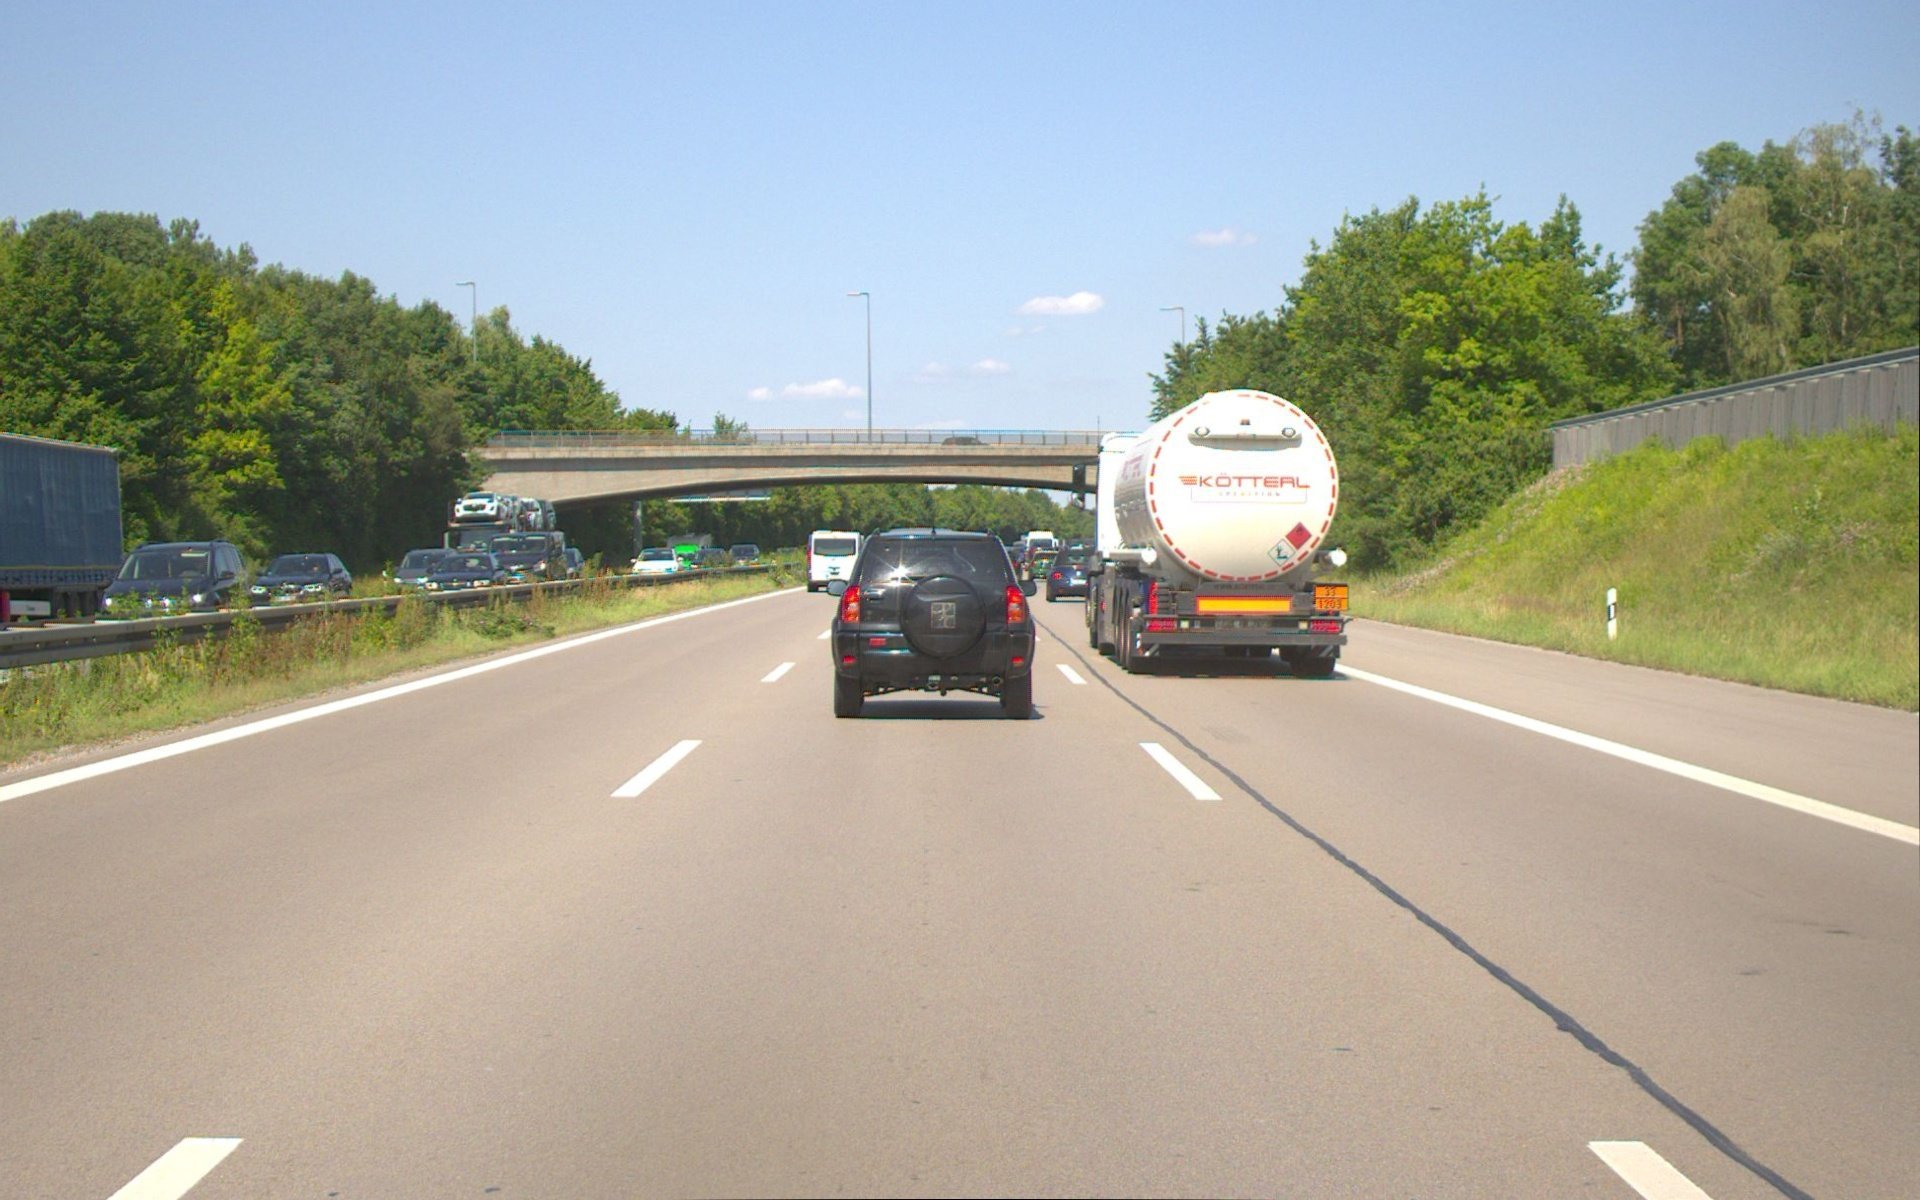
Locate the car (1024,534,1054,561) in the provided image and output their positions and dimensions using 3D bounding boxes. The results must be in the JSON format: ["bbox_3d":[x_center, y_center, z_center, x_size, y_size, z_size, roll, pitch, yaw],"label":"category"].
[{"bbox_3d":[5.146,-3.455,224.681,1.812,1.740,4.000,-1,1,-1],"label":"car"}]

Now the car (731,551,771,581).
[{"bbox_3d":[-11.052,-1.788,182.021,1.850,1.568,4.422,0,0,0],"label":"car"}]

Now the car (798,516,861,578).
[{"bbox_3d":[-4.325,-1.760,114.846,1.993,2.007,4.950,-1,1,-1],"label":"car"}]

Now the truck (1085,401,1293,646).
[{"bbox_3d":[3.288,-1.107,50.811,2.638,3.363,6.487,1,1,0],"label":"truck"}]

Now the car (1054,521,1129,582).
[{"bbox_3d":[3.748,-1.370,98.737,1.993,1.678,4.000,0,0,0],"label":"car"}]

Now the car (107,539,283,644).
[{"bbox_3d":[-12.196,-0.171,55.062,1.858,1.595,4.721,0,1,-1],"label":"car"}]

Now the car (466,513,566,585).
[{"bbox_3d":[-12.533,-1.448,97.348,2.090,1.938,5.689,0,1,0],"label":"car"}]

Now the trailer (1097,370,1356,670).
[{"bbox_3d":[3.249,-0.994,44.677,2.648,3.378,11.152,1,1,1],"label":"trailer"}]

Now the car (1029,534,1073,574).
[{"bbox_3d":[4.154,-2.118,157.676,1.993,1.773,4.261,-1,1,1],"label":"car"}]

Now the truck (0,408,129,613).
[{"bbox_3d":[-20.357,-1.793,71.789,2.672,4.064,13.960,-2,1,-1],"label":"truck"}]

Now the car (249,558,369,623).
[{"bbox_3d":[-15.808,-0.262,83.699,1.993,1.504,5.208,0,1,-1],"label":"car"}]

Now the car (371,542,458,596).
[{"bbox_3d":[-16.981,-0.991,107.177,1.964,1.635,4.896,0,1,0],"label":"car"}]

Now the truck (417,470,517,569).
[{"bbox_3d":[-20.679,-3.363,144.658,3.240,4.036,7.396,-1,1,-1],"label":"truck"}]

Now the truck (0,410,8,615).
[{"bbox_3d":[-20.241,-1.652,65.084,2.672,4.064,6.076,-2,1,-1],"label":"truck"}]

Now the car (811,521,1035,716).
[{"bbox_3d":[-0.331,0.133,31.287,1.906,1.659,4.000,0,1,0],"label":"car"}]

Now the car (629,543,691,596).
[{"bbox_3d":[-11.772,-1.183,135.190,1.993,2.007,4.914,0,0,0],"label":"car"}]

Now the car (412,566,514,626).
[{"bbox_3d":[-12.579,-0.123,87.275,1.874,1.434,5.019,0,1,0],"label":"car"}]

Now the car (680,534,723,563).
[{"bbox_3d":[-12.355,-2.474,164.292,1.716,1.385,4.000,0,1,0],"label":"car"}]

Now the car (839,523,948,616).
[{"bbox_3d":[-1.306,-0.587,66.295,1.993,1.700,4.336,-1,1,-2],"label":"car"}]

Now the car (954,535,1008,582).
[{"bbox_3d":[0.775,-1.477,122.981,1.842,1.606,4.000,0,0,2],"label":"car"}]
